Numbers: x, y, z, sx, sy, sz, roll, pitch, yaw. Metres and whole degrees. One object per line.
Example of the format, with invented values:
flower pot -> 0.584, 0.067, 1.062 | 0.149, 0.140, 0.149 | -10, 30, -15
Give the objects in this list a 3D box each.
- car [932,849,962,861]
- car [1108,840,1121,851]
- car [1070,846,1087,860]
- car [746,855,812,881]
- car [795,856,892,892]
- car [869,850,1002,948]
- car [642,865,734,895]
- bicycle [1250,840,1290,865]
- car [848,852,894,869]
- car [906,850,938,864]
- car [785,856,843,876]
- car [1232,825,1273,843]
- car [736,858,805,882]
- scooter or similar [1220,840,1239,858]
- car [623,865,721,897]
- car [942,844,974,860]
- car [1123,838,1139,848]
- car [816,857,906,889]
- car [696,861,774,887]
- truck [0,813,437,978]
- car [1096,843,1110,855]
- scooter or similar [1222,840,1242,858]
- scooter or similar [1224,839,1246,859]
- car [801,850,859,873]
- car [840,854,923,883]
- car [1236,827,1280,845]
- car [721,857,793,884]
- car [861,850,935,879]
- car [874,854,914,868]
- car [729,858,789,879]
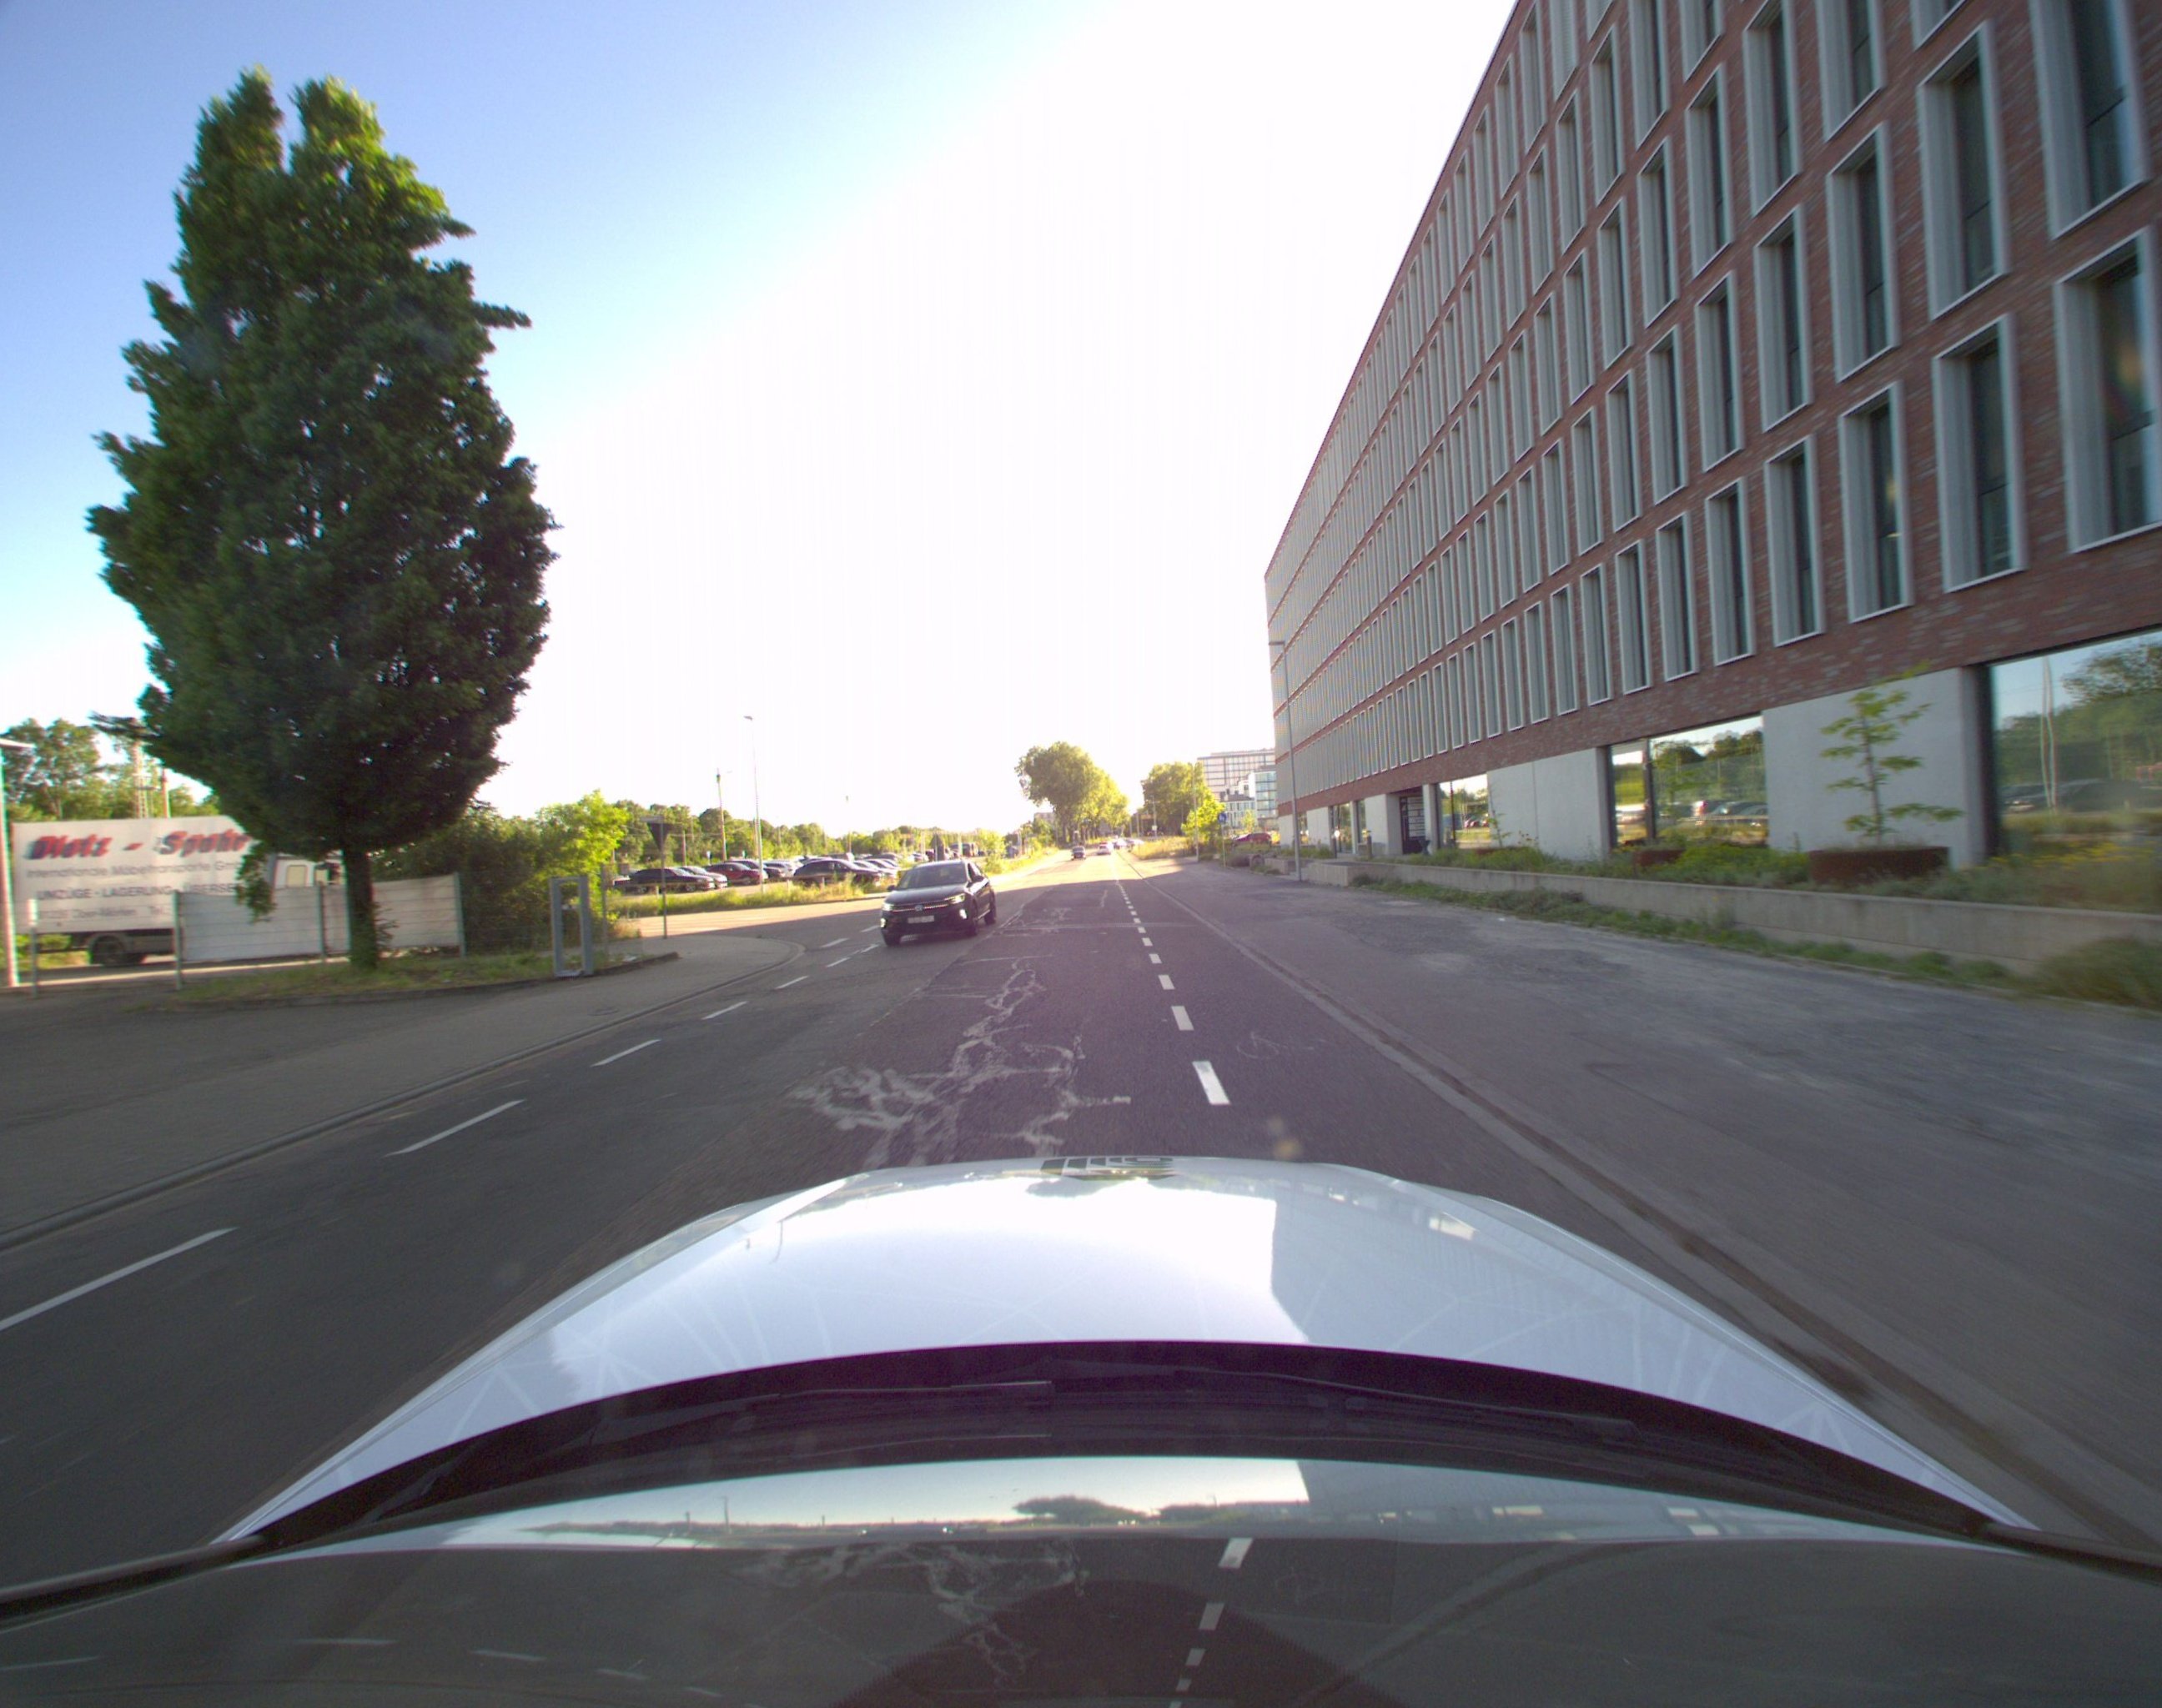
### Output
car -> -21.286, 0.098, 129.416 | 4.307, 1.618, 1.879 | -3, 1, 0
car -> 5.775, -1.471, 140.013 | 2.154, 1.684, 4.004 | -3, 0, 4
car -> -0.310, -0.151, 93.841 | 1.647, 1.503, 4.003 | -4, 0, 3
car -> -22.816, 1.059, 61.699 | 4.149, 1.662, 1.965 | -3, 1, -2
car -> -12.558, 1.046, 43.289 | 4.410, 1.580, 2.050 | -3, 1, 2
car -> -2.809, 0.799, 16.685 | 1.735, 1.525, 4.112 | -7, 1, 1
car -> -23.442, 1.518, 48.685 | 4.391, 1.465, 2.047 | -3, 1, -3
bicycle -> 9.801, -0.077, 42.296 | 1.928, 1.169, 0.374 | -5, 0, -5
car -> -22.457, 0.670, 87.096 | 4.305, 1.523, 1.879 | -3, 1, 2
car -> -21.729, 0.400, 111.196 | 3.869, 1.603, 1.879 | -3, 1, 0
car -> -23.391, 1.042, 71.415 | 4.350, 1.545, 1.858 | -3, 1, 2
car -> 18.898, -2.211, 89.846 | 4.164, 1.581, 1.854 | -3, -4, 5
car -> -22.599, 1.148, 59.385 | 4.150, 1.397, 2.047 | -3, 1, -2
scooter or similar -> 10.413, -0.330, 57.068 | 1.237, 1.195, 0.341 | -4, 0, 5
car -> -23.022, 1.491, 45.945 | 4.391, 1.465, 2.047 | -3, 1, -3
car -> -20.684, -0.316, 137.018 | 4.909, 2.459, 2.320 | -4, 0, 0
car -> 9.030, -1.910, 145.730 | 2.149, 1.684, 4.014 | -3, 0, 12
car -> -12.443, 1.050, 46.194 | 4.410, 1.461, 2.050 | -3, 1, 2
car -> -22.853, 1.281, 53.901 | 4.150, 1.397, 2.047 | -3, 1, -2
truck -> -22.952, 1.052, 21.153 | 10.064, 3.614, 2.776 | -3, 0, 0
car -> 3.009, -0.717, 111.231 | 1.783, 1.420, 4.002 | -4, 1, 1
scooter or similar -> 10.255, -0.326, 55.466 | 1.237, 1.155, 0.366 | -4, 0, 5
scooter or similar -> 10.165, -0.327, 53.909 | 1.334, 1.245, 0.424 | -4, 0, 5
car -> -22.727, 0.668, 73.781 | 4.558, 1.805, 1.858 | -3, 1, 2
car -> -12.047, 0.856, 49.428 | 4.410, 1.461, 2.050 | -3, 1, 2
car -> 17.984, -1.834, 82.965 | 4.164, 1.580, 1.854 | -3, 1, 5
car -> -22.586, 1.140, 56.939 | 4.150, 1.578, 2.047 | -3, 1, -2
car -> -12.302, 0.704, 54.998 | 4.410, 1.670, 2.050 | -3, 1, 2
car -> -22.399, 0.871, 97.606 | 4.307, 1.419, 1.879 | -3, 1, 0
car -> -28.166, 1.262, 71.282 | 4.350, 1.545, 1.858 | -3, 1, 2
